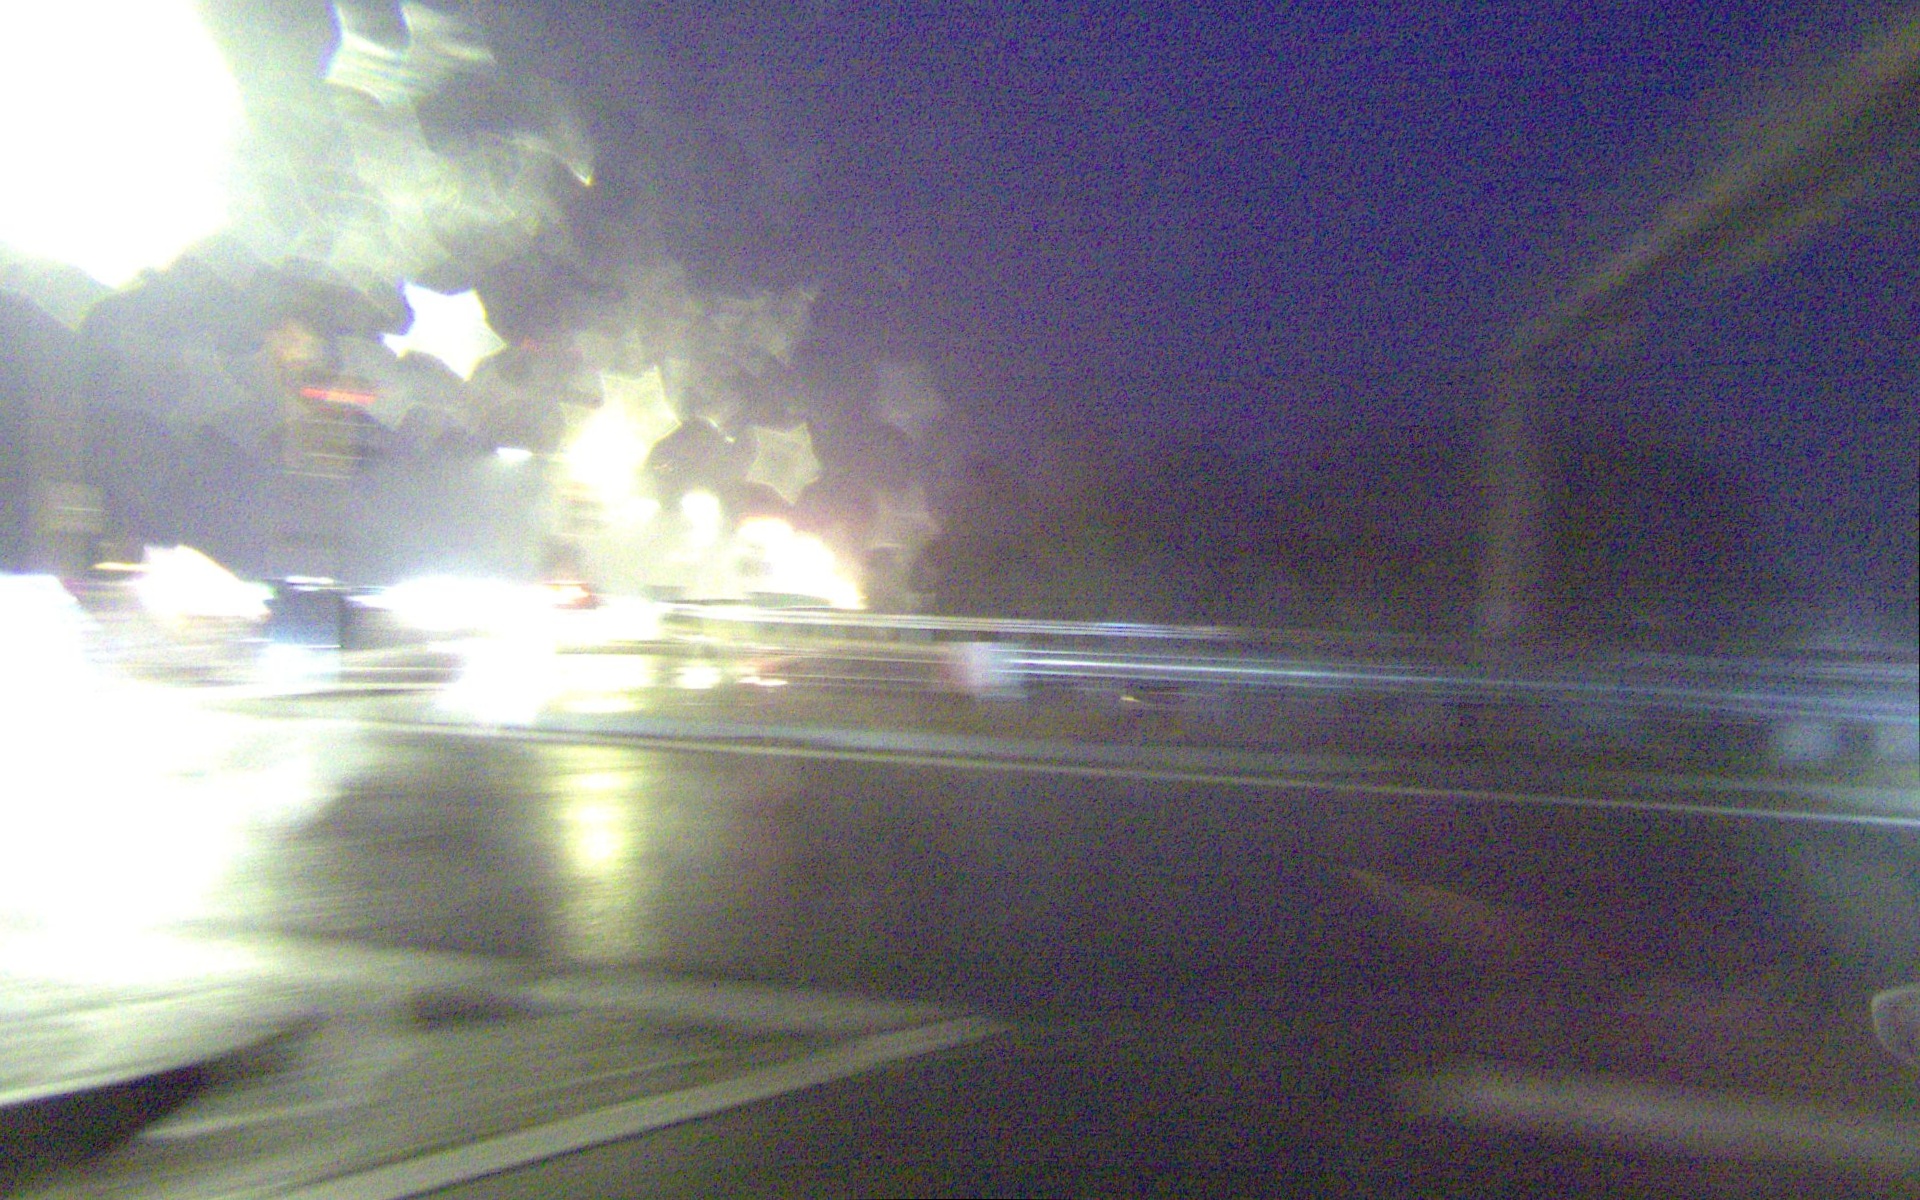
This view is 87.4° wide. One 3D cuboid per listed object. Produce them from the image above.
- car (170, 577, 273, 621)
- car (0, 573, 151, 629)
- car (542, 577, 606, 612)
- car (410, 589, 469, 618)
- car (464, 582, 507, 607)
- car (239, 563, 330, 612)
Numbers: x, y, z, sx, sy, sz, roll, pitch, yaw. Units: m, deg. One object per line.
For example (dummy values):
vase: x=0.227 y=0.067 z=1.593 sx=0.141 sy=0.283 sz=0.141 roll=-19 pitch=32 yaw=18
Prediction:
car: x=-33.032 y=-0.055 z=45.044 sx=1.721 sy=1.865 sz=4.014 roll=1 pitch=0 yaw=-2
car: x=-24.965 y=0.007 z=28.364 sx=1.564 sy=1.446 sz=3.349 roll=1 pitch=1 yaw=-2
car: x=-17.534 y=-0.257 z=45.829 sx=1.769 sy=1.472 sz=4.262 roll=1 pitch=1 yaw=-8
car: x=-30.413 y=0.182 z=58.834 sx=1.723 sy=1.563 sz=3.788 roll=1 pitch=1 yaw=-5
car: x=-34.264 y=-0.388 z=72.587 sx=1.582 sy=1.697 sz=3.788 roll=1 pitch=1 yaw=-5
car: x=-29.712 y=-0.557 z=44.310 sx=1.564 sy=2.041 sz=3.789 roll=1 pitch=1 yaw=-3
